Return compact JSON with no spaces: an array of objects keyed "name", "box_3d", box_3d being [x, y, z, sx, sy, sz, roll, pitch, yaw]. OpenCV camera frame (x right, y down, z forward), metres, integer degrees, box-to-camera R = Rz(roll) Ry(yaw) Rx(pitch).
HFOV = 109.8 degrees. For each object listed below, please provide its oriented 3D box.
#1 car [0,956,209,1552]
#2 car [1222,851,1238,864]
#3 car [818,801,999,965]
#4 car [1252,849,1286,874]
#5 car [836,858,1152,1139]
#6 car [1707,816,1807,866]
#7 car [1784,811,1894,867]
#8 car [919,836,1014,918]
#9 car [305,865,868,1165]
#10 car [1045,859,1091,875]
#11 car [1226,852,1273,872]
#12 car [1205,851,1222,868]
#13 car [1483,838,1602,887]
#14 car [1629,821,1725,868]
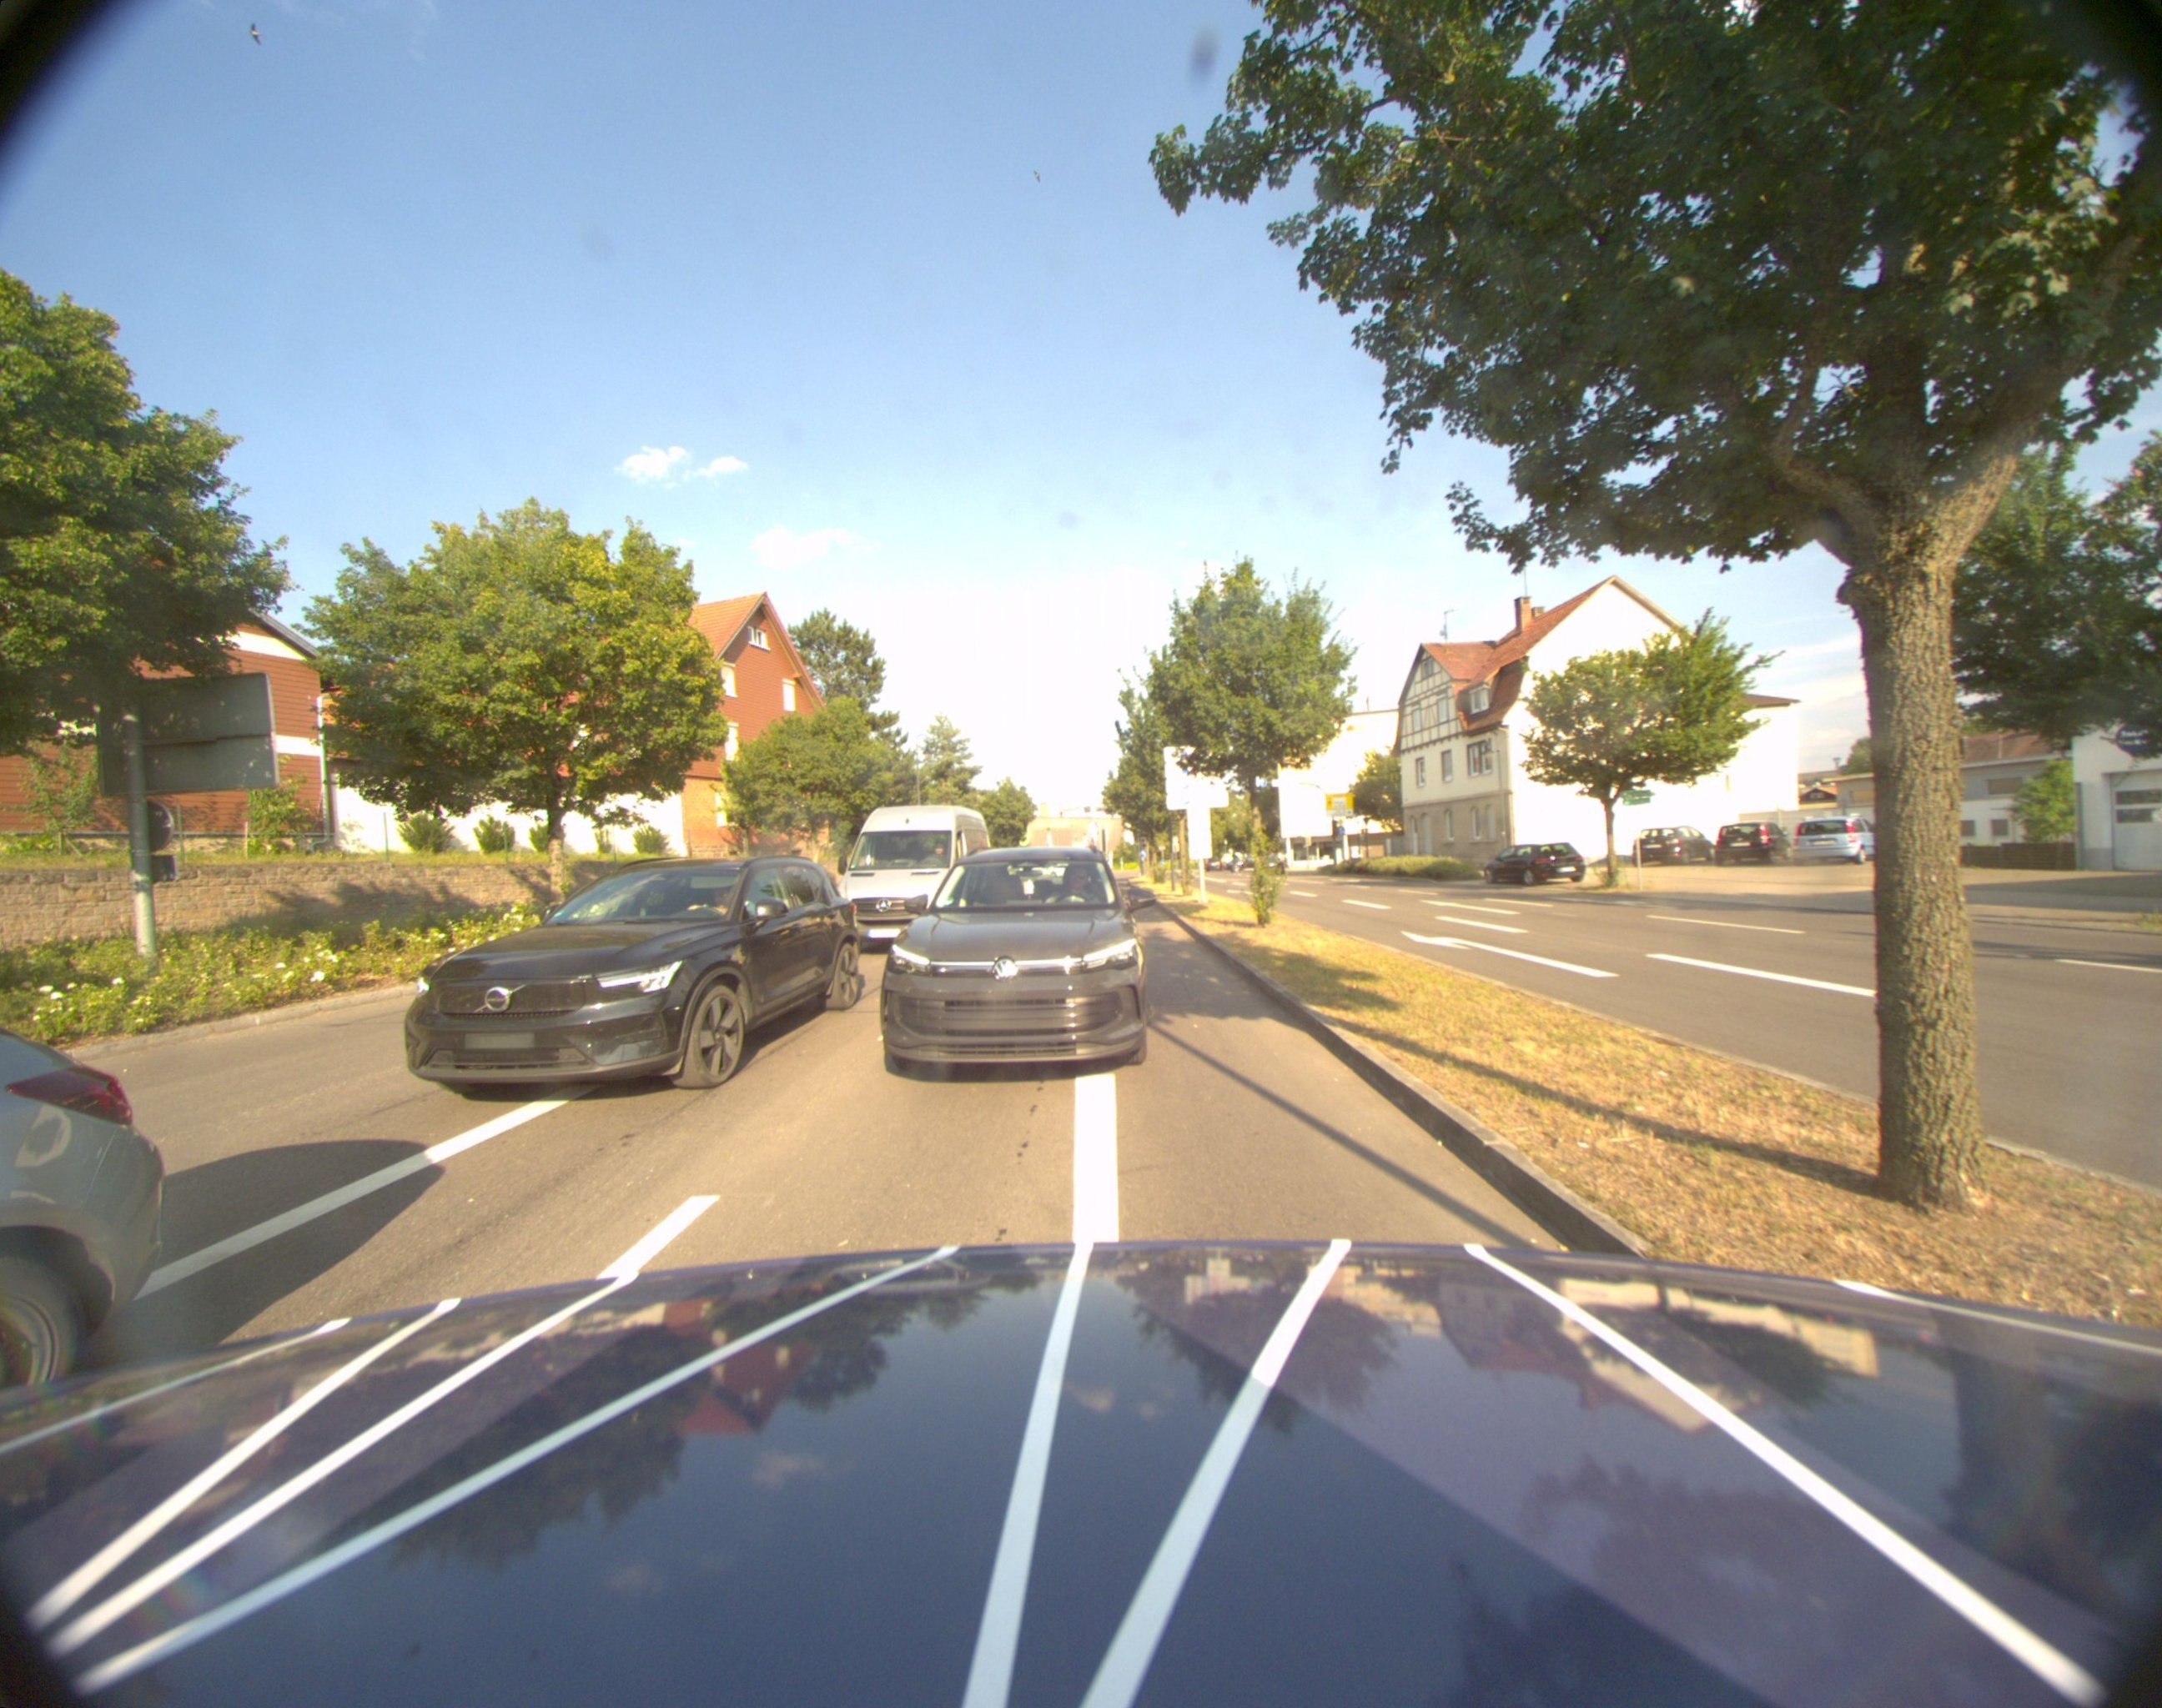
[{"name":"car","box_3d":[-3.617,1.060,0.202,1.766,1.445,4.318,-1,0,0]},{"name":"car","box_3d":[21.041,0.519,107.349,1.779,1.683,4.005,-2,0,18]},{"name":"car","box_3d":[-3.041,0.445,14.978,1.992,2.554,6.046,-1,0,2]},{"name":"car","box_3d":[13.938,0.528,56.491,1.781,1.683,4.001,-2,0,4]},{"name":"car","box_3d":[-0.455,0.872,6.639,1.845,1.600,4.318,-1,0,2]},{"name":"car","box_3d":[24.653,-0.488,27.678,3.830,1.493,1.816,-5,0,-35]},{"name":"car","box_3d":[24.875,-0.502,24.912,3.830,1.493,1.816,-5,0,-35]},{"name":"car","box_3d":[-3.020,0.558,20.974,1.845,2.018,4.318,-1,0,2]},{"name":"car","box_3d":[-3.403,0.946,6.450,1.845,1.600,4.318,-1,0,2]},{"name":"car","box_3d":[-1.379,1.321,78.528,4.364,1.460,1.786,-2,0,25]},{"name":"car","box_3d":[15.385,0.686,69.522,3.994,1.664,1.788,-2,1,9]},{"name":"car","box_3d":[14.458,0.594,82.959,1.780,1.683,4.003,-2,0,10]},{"name":"car","box_3d":[16.028,0.281,26.640,1.818,1.442,3.825,-5,0,1]},{"name":"car","box_3d":[23.374,-0.390,29.775,3.830,1.493,1.816,-5,0,-35]}]
